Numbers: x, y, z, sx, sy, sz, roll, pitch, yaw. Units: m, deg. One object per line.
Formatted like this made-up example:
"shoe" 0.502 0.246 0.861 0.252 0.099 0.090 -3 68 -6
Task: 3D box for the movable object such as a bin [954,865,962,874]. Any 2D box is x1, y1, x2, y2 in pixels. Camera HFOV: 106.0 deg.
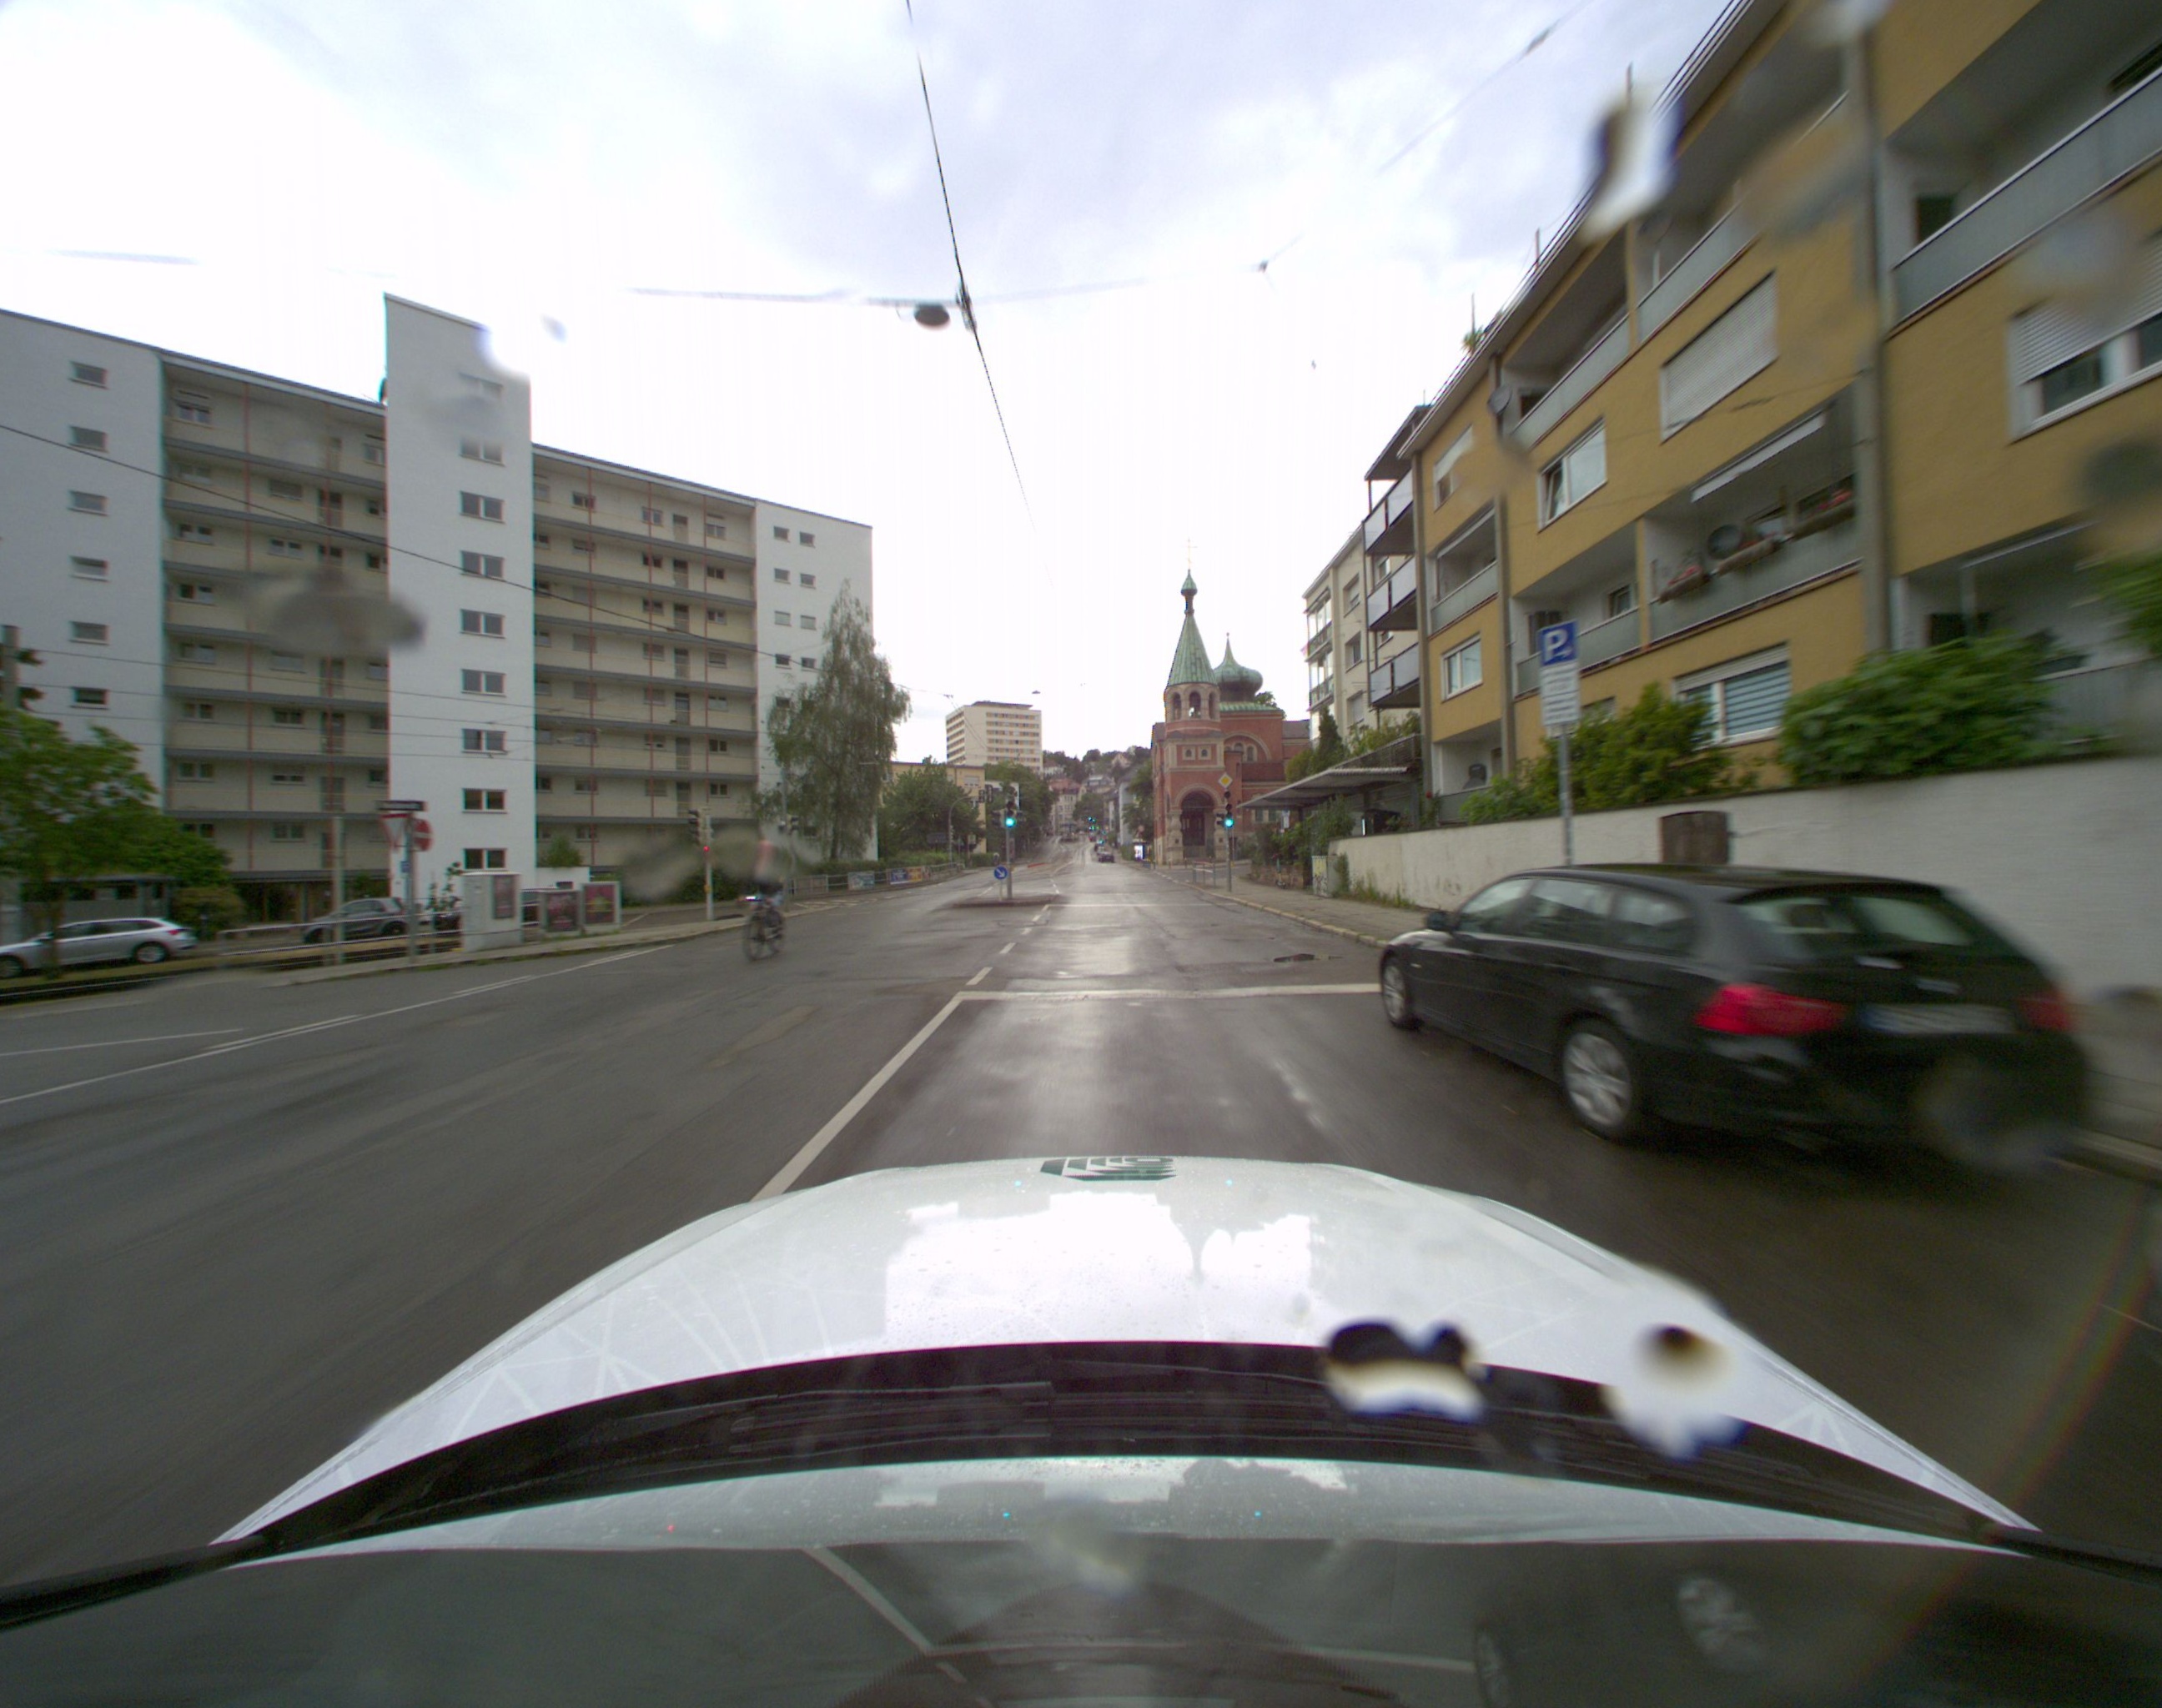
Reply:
"movable object such as a bin" -11.522 1.458 76.229 0.685 0.882 0.759 0 -2 -5

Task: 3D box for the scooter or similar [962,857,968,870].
"scooter or similar" -11.099 0.888 78.077 0.572 1.184 1.596 0 -2 -7

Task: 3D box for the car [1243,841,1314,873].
"car" 11.575 0.158 47.503 1.977 1.457 4.477 -1 3 44

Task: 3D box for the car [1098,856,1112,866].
"car" 3.718 1.141 128.665 1.935 1.464 4.203 -1 0 -2

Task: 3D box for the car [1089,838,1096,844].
"car" 3.109 -3.554 221.515 1.794 1.645 4.004 -1 0 3

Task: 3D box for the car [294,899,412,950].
"car" -25.358 2.407 28.390 2.910 1.392 1.788 -4 1 -45

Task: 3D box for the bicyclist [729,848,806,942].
"bicyclist" -5.142 0.662 13.429 0.821 1.462 1.140 -1 -2 0

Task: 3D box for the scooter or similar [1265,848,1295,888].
"scooter or similar" 7.004 0.496 28.682 0.533 1.327 1.659 -6 -1 1

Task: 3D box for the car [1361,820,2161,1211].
"car" 3.487 0.671 5.349 1.724 1.460 4.476 -1 -2 0

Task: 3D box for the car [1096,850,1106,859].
"car" 3.711 0.086 153.762 1.699 1.433 4.101 0 2 -1

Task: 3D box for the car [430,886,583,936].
"car" -22.068 2.156 31.413 4.519 1.461 1.851 -4 -1 -44

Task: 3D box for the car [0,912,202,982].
"car" -29.591 2.737 24.342 4.337 1.508 1.975 -4 2 -44

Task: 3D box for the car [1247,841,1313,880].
"car" 9.007 0.352 37.240 1.847 1.503 4.449 -4 -2 1

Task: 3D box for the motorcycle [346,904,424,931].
"motorcycle" -27.459 2.489 32.166 0.888 0.940 2.249 -2 -2 43

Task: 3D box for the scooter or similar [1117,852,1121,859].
"scooter or similar" 7.254 0.318 154.565 0.572 1.249 1.613 -1 4 5

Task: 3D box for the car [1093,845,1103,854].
"car" 3.555 -0.934 170.121 1.900 1.641 4.688 0 2 -1

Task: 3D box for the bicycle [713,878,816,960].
"bicycle" -5.130 1.009 13.380 0.821 1.148 2.127 -2 0 0

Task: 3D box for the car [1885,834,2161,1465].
"car" 3.358 0.634 0.468 1.643 1.460 4.099 -1 -2 -2

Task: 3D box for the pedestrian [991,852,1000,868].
"pedestrian" -10.073 0.704 95.876 0.917 1.846 1.016 0 -2 -4

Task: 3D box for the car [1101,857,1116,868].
"car" 3.947 1.263 117.457 1.852 1.487 4.642 -1 0 -1

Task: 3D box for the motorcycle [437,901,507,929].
"motorcycle" -25.458 2.543 34.062 2.248 0.940 0.769 -2 2 -43
